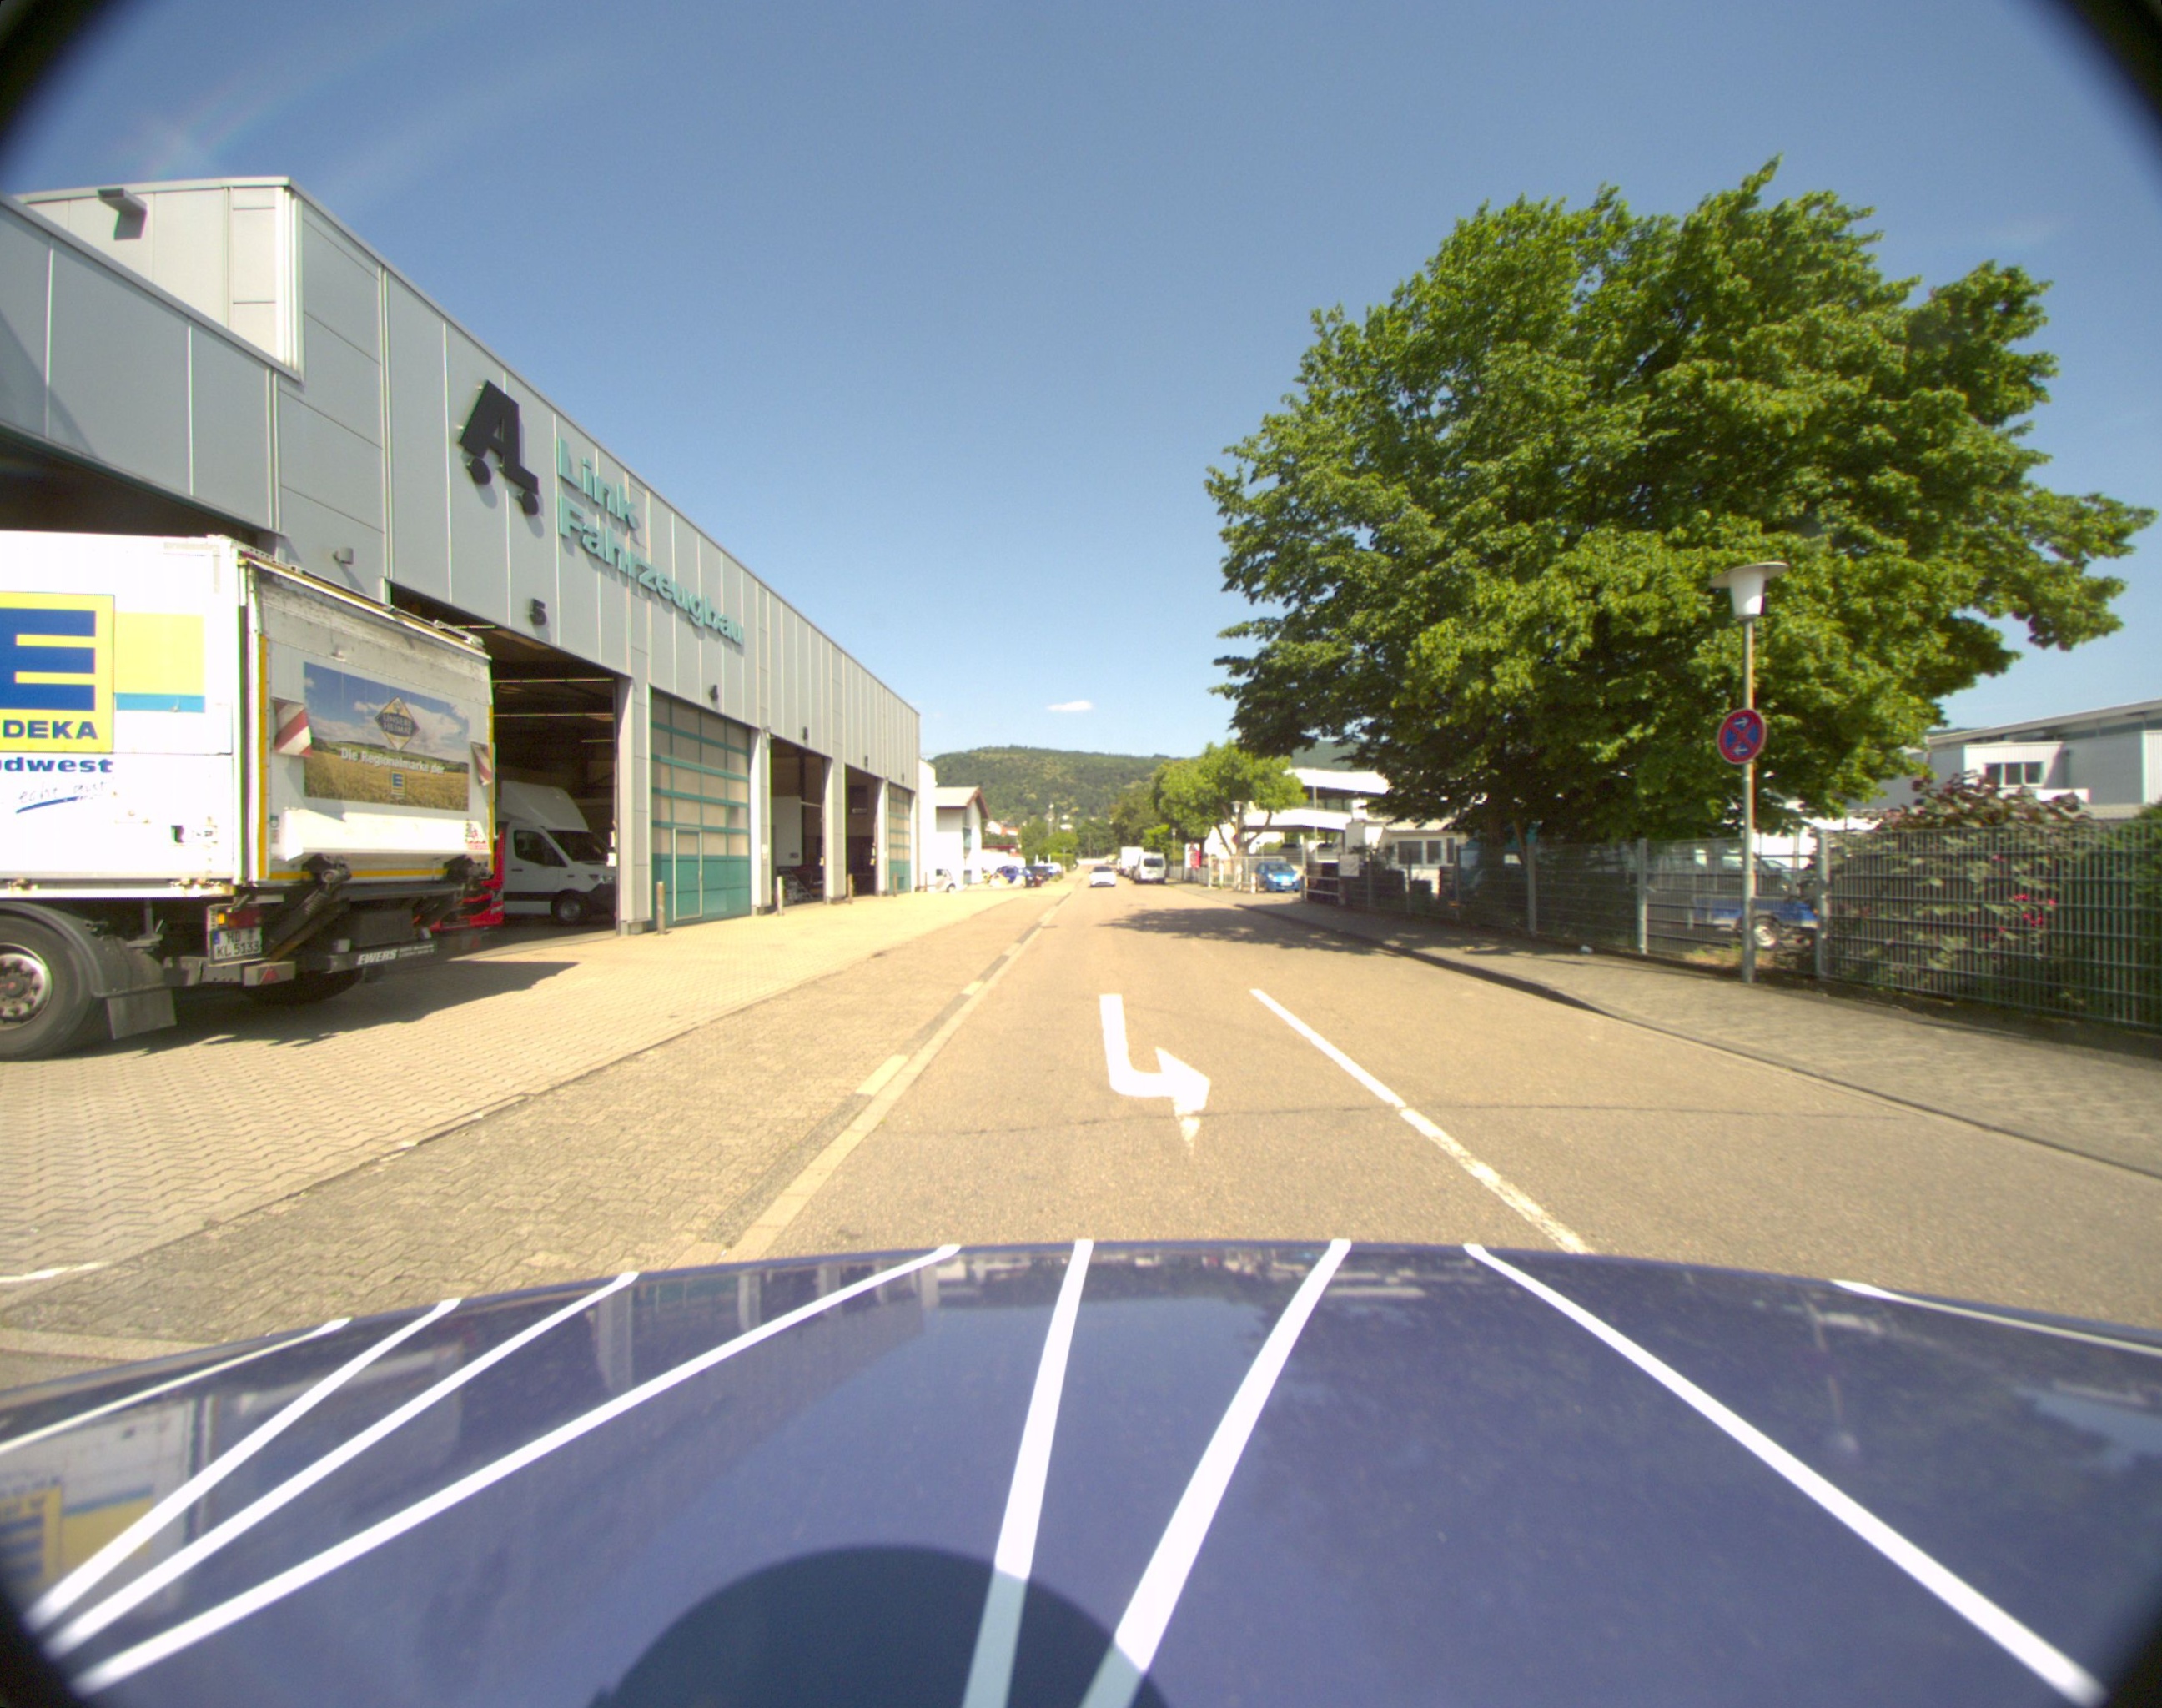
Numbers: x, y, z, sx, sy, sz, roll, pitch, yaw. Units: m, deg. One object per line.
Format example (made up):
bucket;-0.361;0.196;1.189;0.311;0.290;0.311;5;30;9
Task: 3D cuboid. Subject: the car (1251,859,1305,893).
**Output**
car;9.399;1.010;36.494;1.644;1.449;3.525;-2;0;0

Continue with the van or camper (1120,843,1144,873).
van or camper;5.939;0.464;88.853;2.525;3.350;5.592;0;0;1

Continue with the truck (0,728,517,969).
truck;-13.789;-0.081;12.057;7.969;3.384;2.480;0;0;2

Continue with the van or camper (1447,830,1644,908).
van or camper;12.516;0.393;20.671;4.192;1.852;1.774;-2;0;3

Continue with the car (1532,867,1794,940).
car;11.815;0.966;15.671;3.924;1.378;1.860;0;0;5

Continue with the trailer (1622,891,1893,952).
trailer;11.797;1.159;13.431;3.289;0.934;1.613;0;0;3

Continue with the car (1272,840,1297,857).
car;18.423;-0.474;68.687;1.705;1.449;3.531;0;0;22

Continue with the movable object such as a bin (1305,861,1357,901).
movable object such as a bin;9.108;0.969;27.834;1.383;1.350;2.104;-2;0;7

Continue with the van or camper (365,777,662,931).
van or camper;-12.485;-0.006;16.988;5.055;3.187;2.000;-1;0;-1

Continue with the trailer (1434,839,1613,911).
trailer;14.792;0.688;25.614;4.781;2.142;2.000;-2;0;2

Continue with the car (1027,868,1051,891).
car;-2.661;1.608;48.206;1.452;1.371;3.186;0;0;-2

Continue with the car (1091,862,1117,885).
car;1.627;1.348;53.941;1.736;1.521;4.110;0;0;1

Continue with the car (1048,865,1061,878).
car;-3.077;2.067;88.263;1.452;1.371;3.186;-2;0;-2

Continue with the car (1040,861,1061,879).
car;-2.749;1.450;68.181;1.453;1.487;3.184;-2;0;-10

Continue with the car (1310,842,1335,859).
car;21.604;-0.345;67.910;1.705;1.449;3.530;-2;0;23

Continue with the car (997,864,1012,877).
car;-8.960;1.936;88.924;1.452;1.371;3.186;-2;0;-2

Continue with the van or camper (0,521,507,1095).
van or camper;-11.533;-0.276;5.797;11.635;3.671;2.780;0;0;-6

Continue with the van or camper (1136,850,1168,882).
van or camper;5.400;0.881;58.351;2.028;2.363;4.685;1;0;1

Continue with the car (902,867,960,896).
car;-8.241;1.500;41.830;1.309;1.524;2.829;-2;-2;44

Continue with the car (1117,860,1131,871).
car;6.375;1.648;112.564;1.708;1.563;3.524;-2;0;-1

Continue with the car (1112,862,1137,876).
car;4.716;1.596;82.934;1.710;1.449;3.520;0;0;-15

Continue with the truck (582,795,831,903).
truck;-13.577;-0.168;27.945;7.854;3.759;2.625;0;0;2

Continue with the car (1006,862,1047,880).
car;-4.102;1.277;57.322;2.975;1.332;1.453;0;0;2
